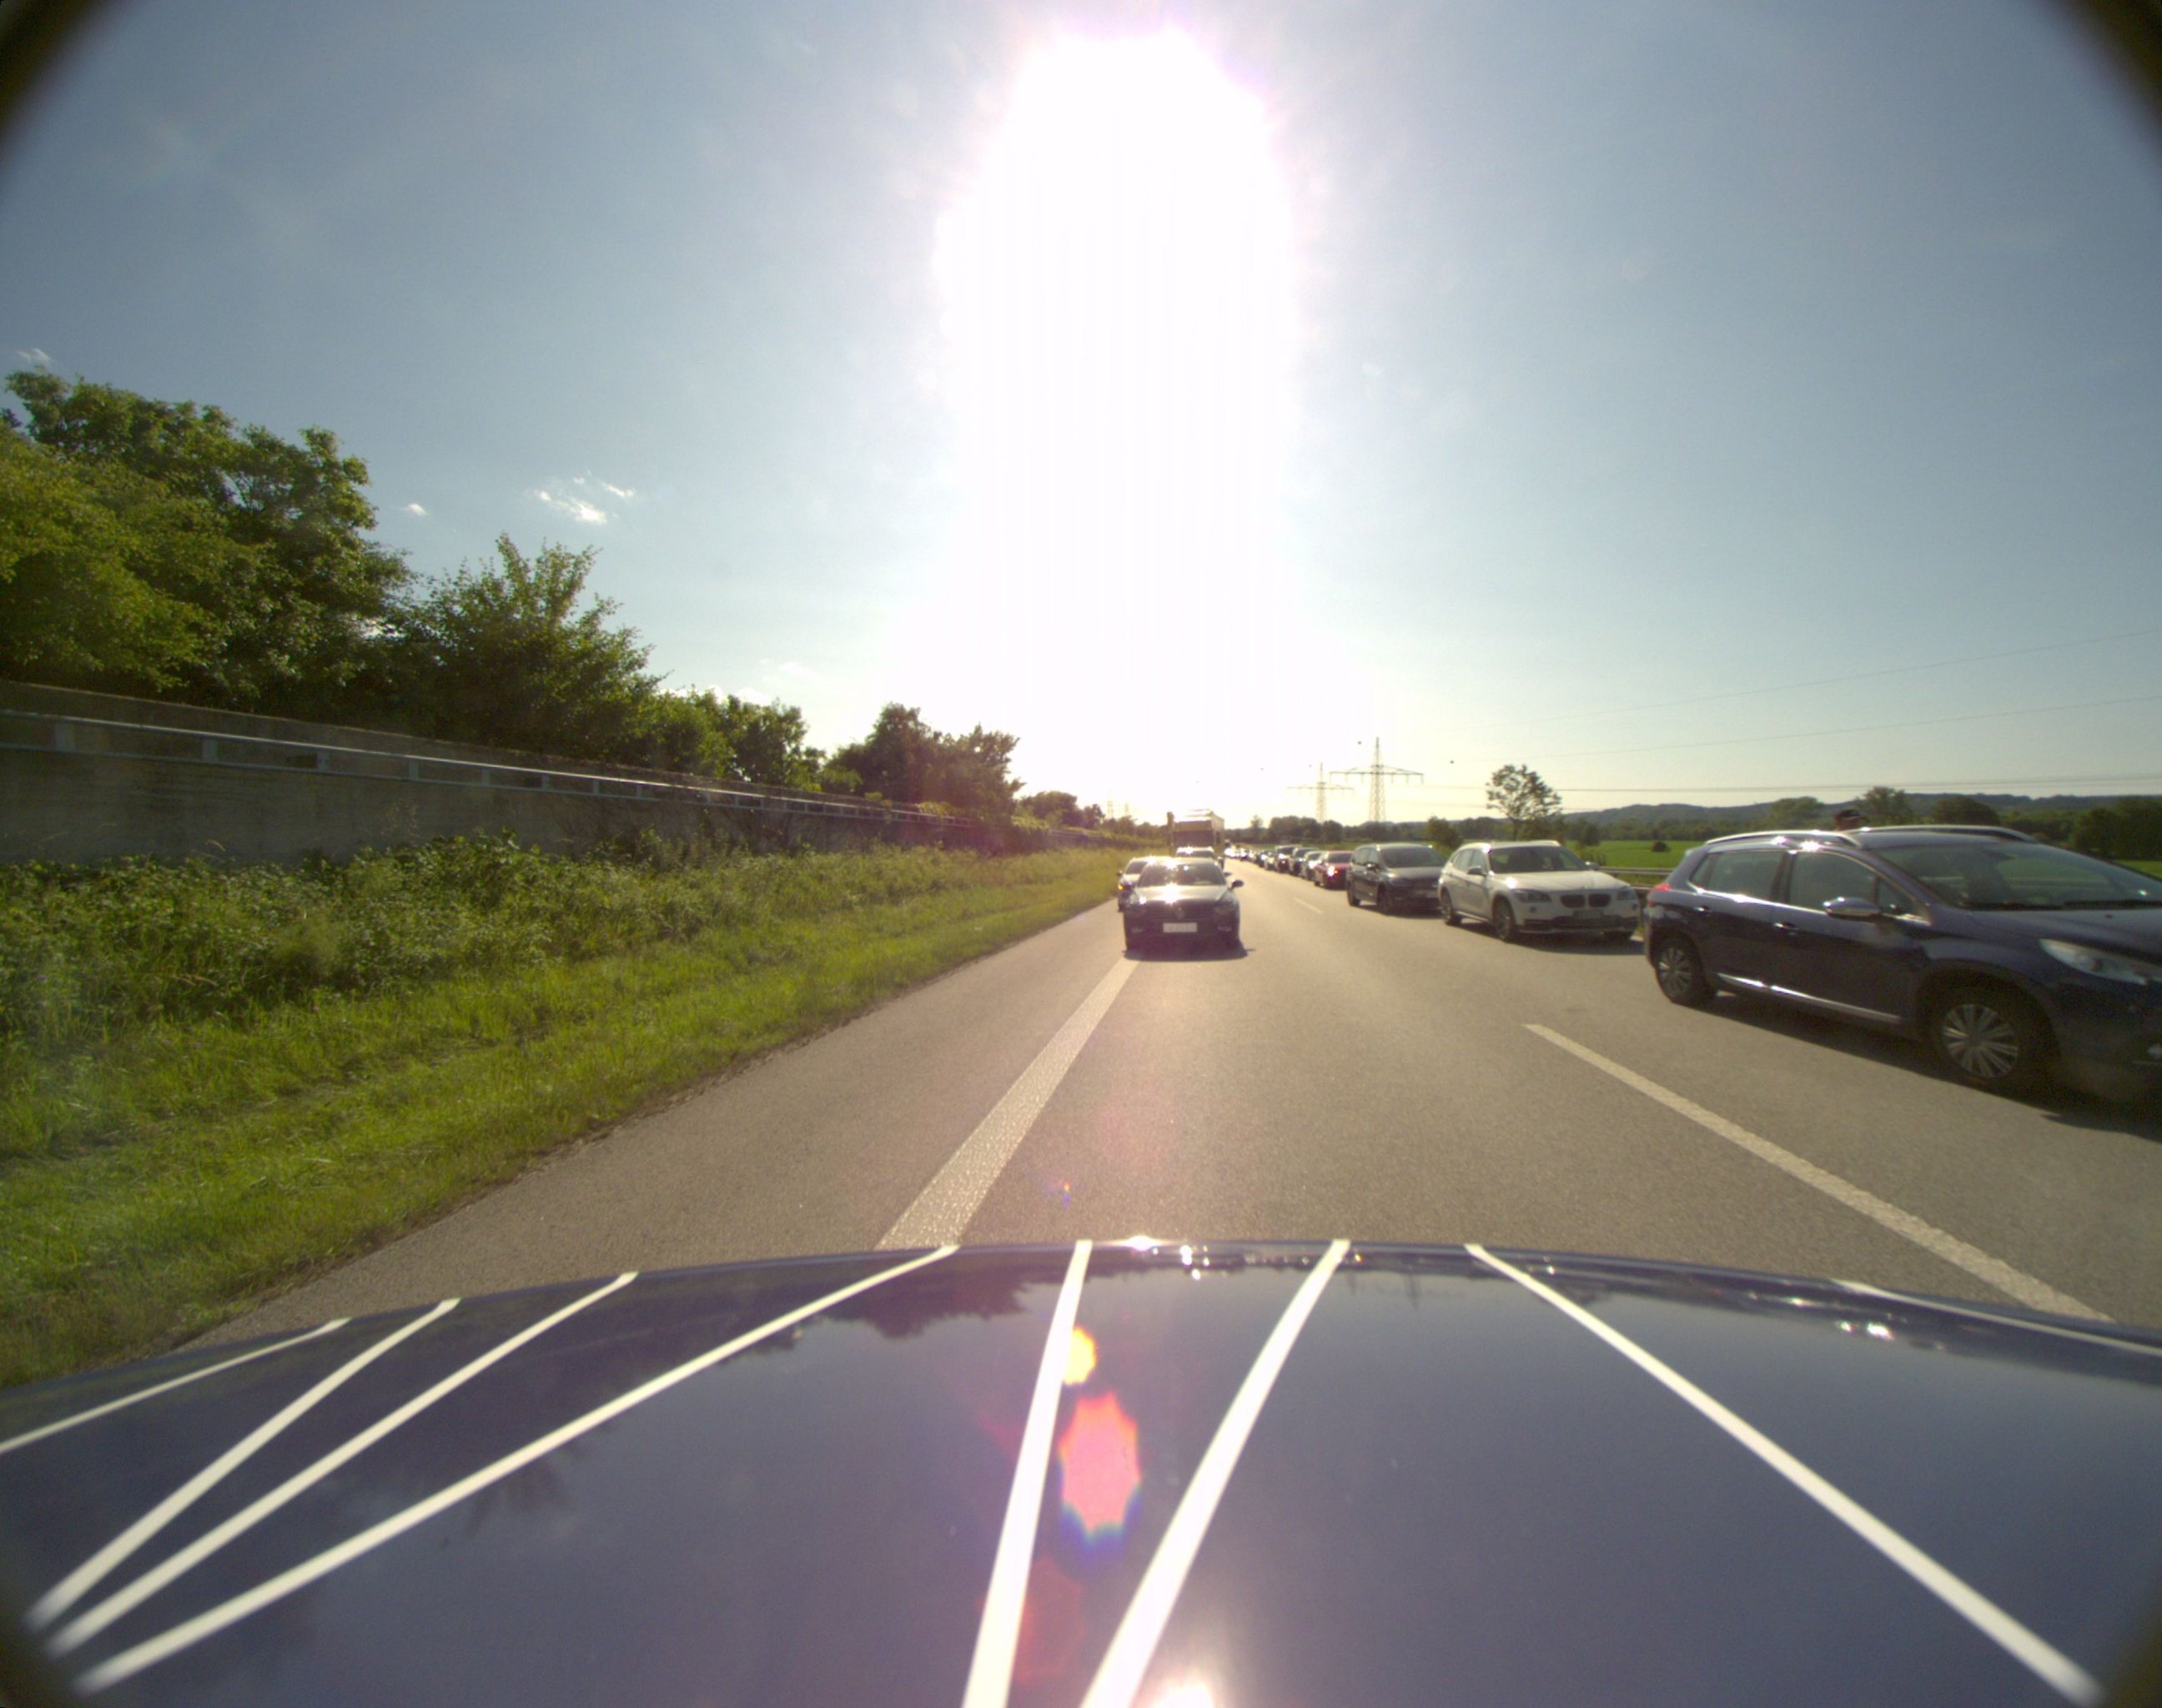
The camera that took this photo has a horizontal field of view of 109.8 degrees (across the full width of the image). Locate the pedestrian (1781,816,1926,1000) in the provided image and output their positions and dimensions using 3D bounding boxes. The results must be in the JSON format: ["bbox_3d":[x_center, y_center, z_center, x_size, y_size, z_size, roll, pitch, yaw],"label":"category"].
[{"bbox_3d":[7.733,0.512,7.650,0.672,1.740,0.815,-1,1,9],"label":"pedestrian"}]

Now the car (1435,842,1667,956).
[{"bbox_3d":[7.454,0.618,12.599,1.831,1.564,4.166,-1,0,10],"label":"car"}]

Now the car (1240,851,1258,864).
[{"bbox_3d":[19.324,0.374,87.423,1.818,1.450,4.120,-1,0,9],"label":"car"}]

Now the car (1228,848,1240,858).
[{"bbox_3d":[25.474,-0.150,126.460,1.818,1.450,4.120,-2,0,11],"label":"car"}]

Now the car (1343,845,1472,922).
[{"bbox_3d":[7.692,0.620,18.330,1.818,1.606,4.120,-2,0,9],"label":"car"}]

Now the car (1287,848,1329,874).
[{"bbox_3d":[13.201,0.397,44.389,1.892,1.447,4.003,-1,0,9],"label":"car"}]

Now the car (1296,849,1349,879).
[{"bbox_3d":[12.128,0.479,38.389,1.893,1.390,4.002,-1,0,9],"label":"car"}]

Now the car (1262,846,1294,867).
[{"bbox_3d":[15.061,0.190,58.320,1.997,1.522,4.002,-1,0,9],"label":"car"}]

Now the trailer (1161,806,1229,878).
[{"bbox_3d":[8.021,-0.806,51.580,3.384,4.089,13.964,-2,1,13],"label":"trailer"}]

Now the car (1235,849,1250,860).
[{"bbox_3d":[22.540,0.093,106.284,1.818,1.450,4.120,-2,0,9],"label":"car"}]

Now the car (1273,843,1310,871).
[{"bbox_3d":[14.136,0.180,51.199,1.900,1.777,4.202,-1,0,8],"label":"car"}]

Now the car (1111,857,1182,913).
[{"bbox_3d":[2.060,0.842,22.749,1.715,1.417,4.328,-2,0,10],"label":"car"}]

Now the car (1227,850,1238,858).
[{"bbox_3d":[26.383,-0.015,132.038,1.818,1.450,4.120,-1,0,11],"label":"car"}]

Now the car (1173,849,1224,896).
[{"bbox_3d":[4.500,0.634,28.904,1.715,1.614,4.328,-2,0,10],"label":"car"}]

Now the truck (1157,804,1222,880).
[{"bbox_3d":[6.653,-0.690,45.620,3.330,4.089,6.975,-2,1,11],"label":"truck"}]

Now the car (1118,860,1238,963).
[{"bbox_3d":[1.782,0.874,13.339,1.715,1.405,4.328,-2,0,10],"label":"car"}]

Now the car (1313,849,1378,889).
[{"bbox_3d":[10.302,0.552,29.862,1.818,1.450,4.120,-1,0,11],"label":"car"}]

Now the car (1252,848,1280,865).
[{"bbox_3d":[16.412,0.202,67.523,1.997,1.522,4.002,-1,0,9],"label":"car"}]

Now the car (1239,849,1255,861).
[{"bbox_3d":[21.369,0.087,97.931,1.818,1.450,4.120,-1,0,10],"label":"car"}]

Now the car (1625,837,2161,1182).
[{"bbox_3d":[5.969,0.693,5.367,1.691,1.526,3.950,-3,0,6],"label":"car"}]

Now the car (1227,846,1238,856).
[{"bbox_3d":[28.086,-0.553,141.223,1.812,1.783,3.775,-1,0,9],"label":"car"}]
